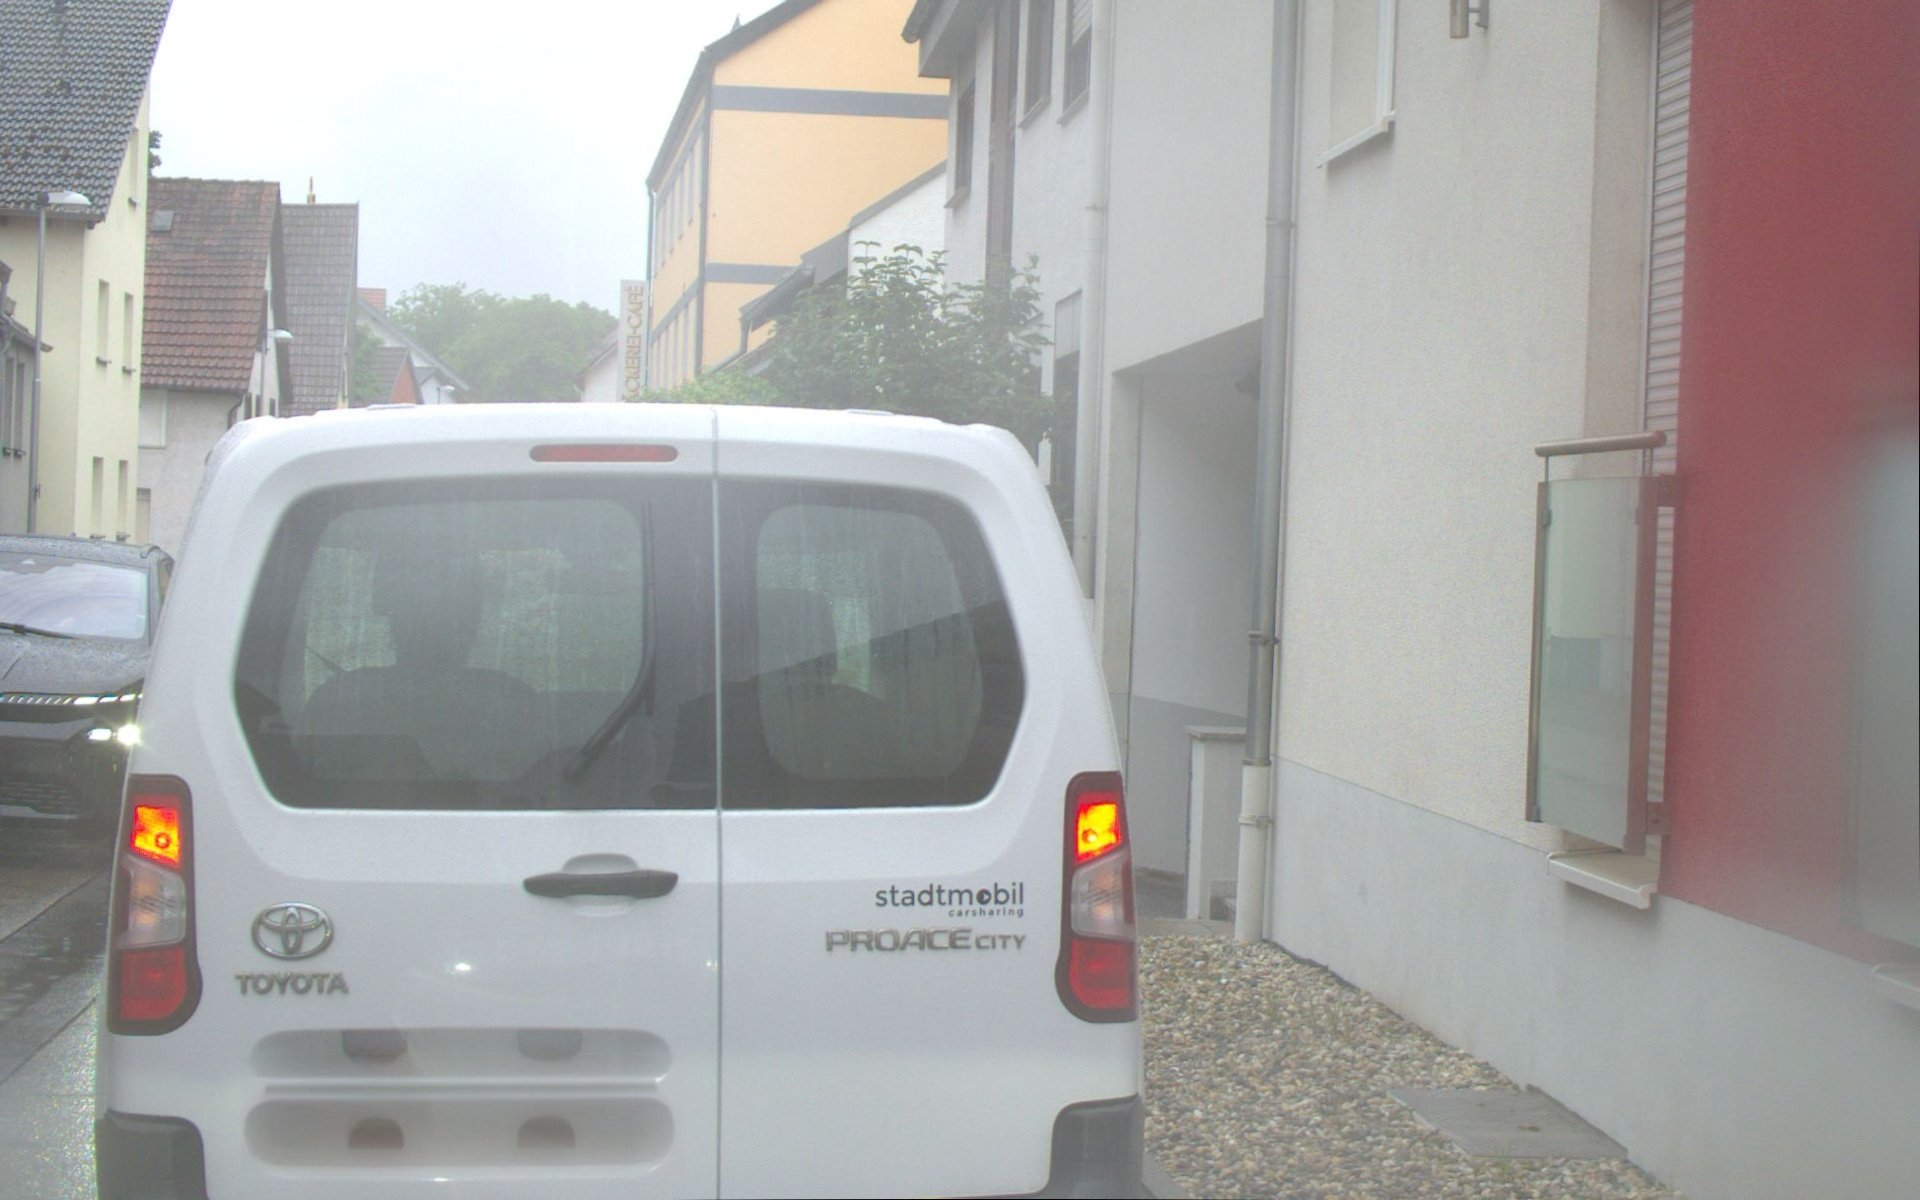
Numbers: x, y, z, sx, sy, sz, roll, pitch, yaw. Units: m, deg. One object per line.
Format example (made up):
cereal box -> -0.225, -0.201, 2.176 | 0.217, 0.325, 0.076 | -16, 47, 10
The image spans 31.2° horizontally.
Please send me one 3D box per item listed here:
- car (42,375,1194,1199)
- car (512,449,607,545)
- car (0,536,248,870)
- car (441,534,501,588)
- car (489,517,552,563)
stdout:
car -> -0.826, 0.532, 7.344 | 1.774, 1.774, 4.001 | 1, 1, -9
car -> -8.845, -2.255, 76.247 | 1.993, 2.007, 4.001 | 1, 1, -6
car -> -4.956, 0.442, 18.258 | 1.832, 1.550, 4.240 | 2, 0, -6
car -> -13.825, -1.104, 97.047 | 1.560, 1.472, 4.001 | 1, 1, -10
car -> -13.783, -1.861, 107.753 | 1.779, 1.390, 4.001 | 1, 1, -10
